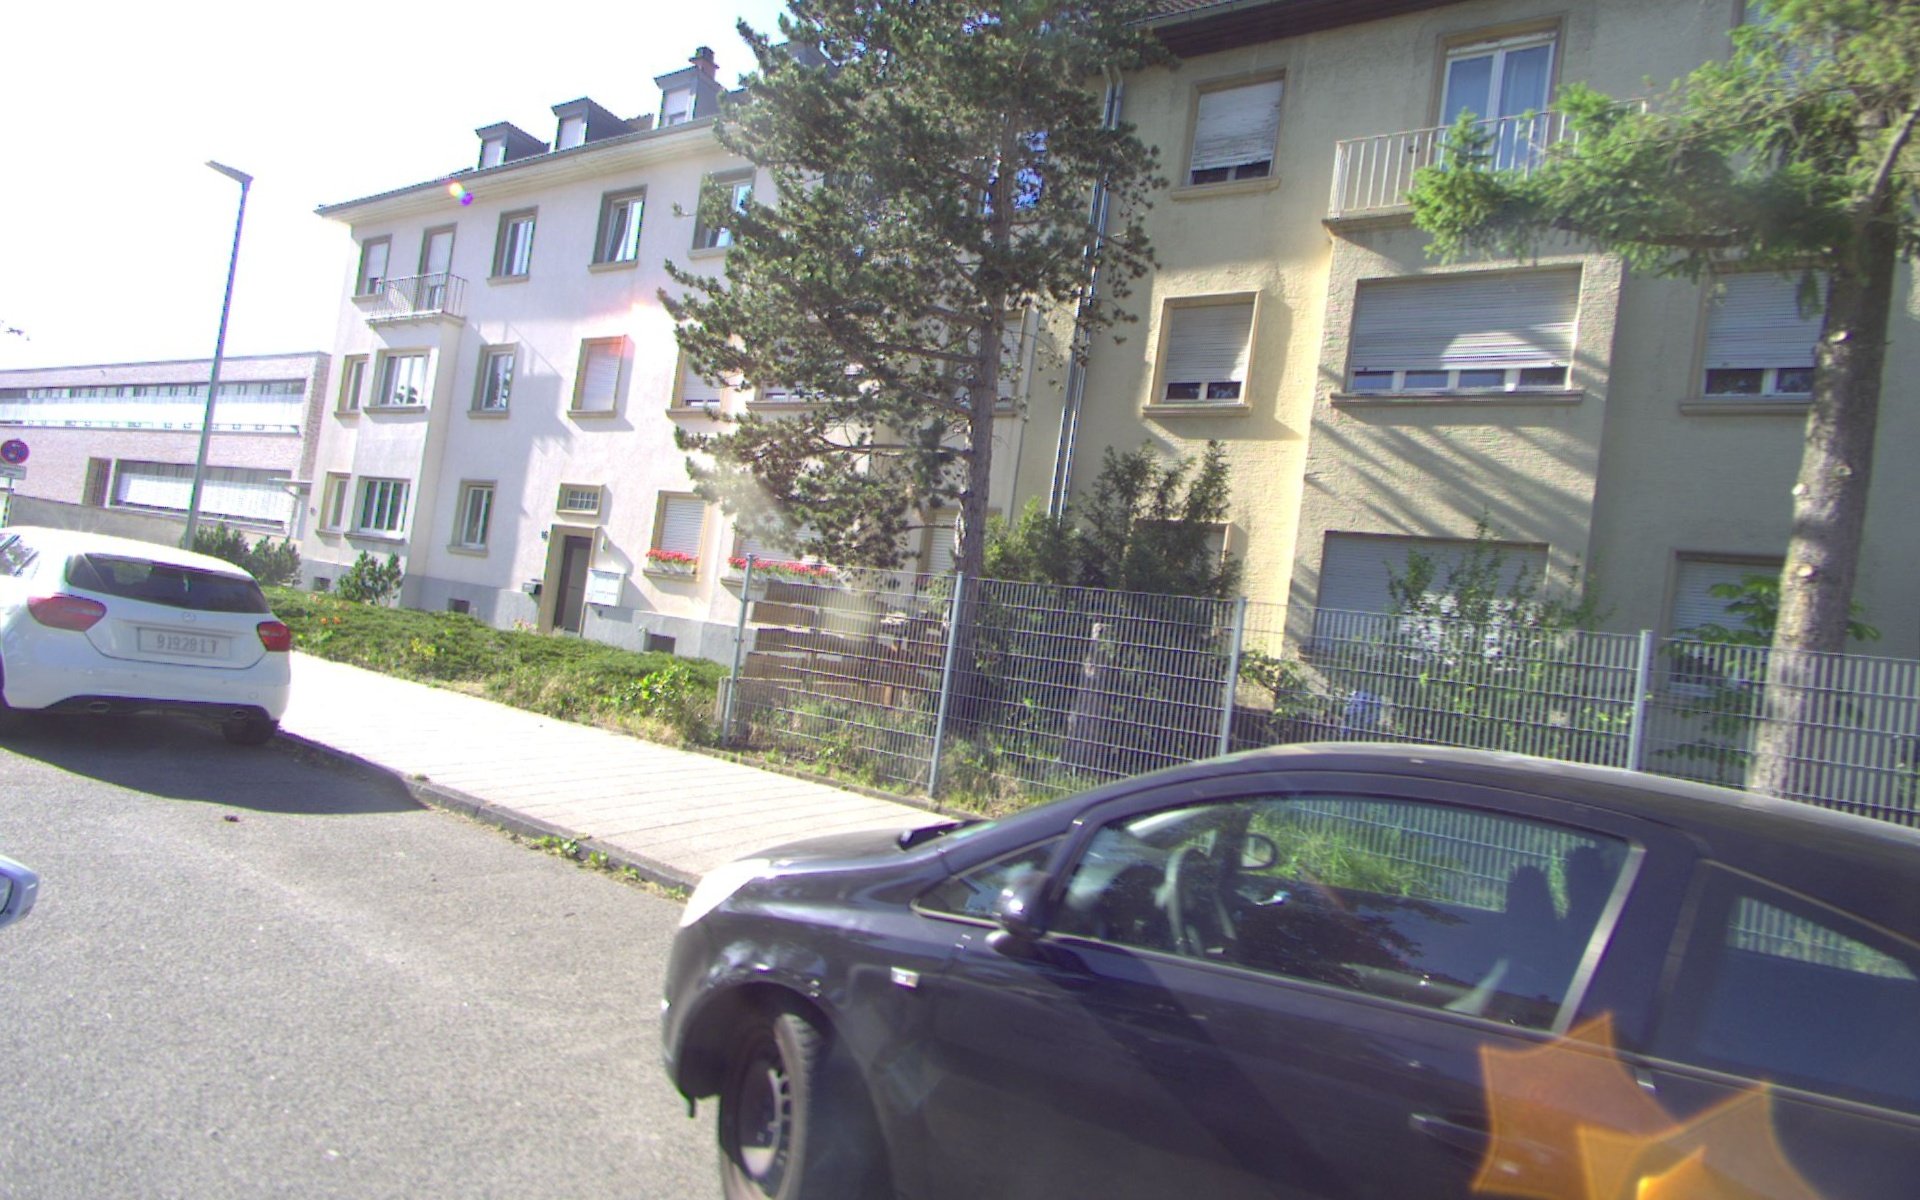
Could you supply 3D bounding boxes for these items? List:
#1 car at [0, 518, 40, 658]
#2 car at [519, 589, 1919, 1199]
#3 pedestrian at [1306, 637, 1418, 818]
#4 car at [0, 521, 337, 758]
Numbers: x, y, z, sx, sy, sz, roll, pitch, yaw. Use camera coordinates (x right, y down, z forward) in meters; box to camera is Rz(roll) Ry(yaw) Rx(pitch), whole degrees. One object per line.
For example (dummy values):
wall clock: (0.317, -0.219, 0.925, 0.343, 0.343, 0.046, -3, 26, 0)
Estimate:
car: (-12.474, -0.431, 11.306, 4.335, 1.480, 1.666, 7, -4, 28)
car: (0.956, 1.033, 2.625, 3.929, 1.526, 1.800, 6, -5, 32)
pedestrian: (4.004, 1.265, 10.025, 0.646, 1.679, 0.642, 10, -3, -42)
car: (-7.221, 0.192, 8.230, 4.218, 1.435, 1.800, 6, -5, 32)
